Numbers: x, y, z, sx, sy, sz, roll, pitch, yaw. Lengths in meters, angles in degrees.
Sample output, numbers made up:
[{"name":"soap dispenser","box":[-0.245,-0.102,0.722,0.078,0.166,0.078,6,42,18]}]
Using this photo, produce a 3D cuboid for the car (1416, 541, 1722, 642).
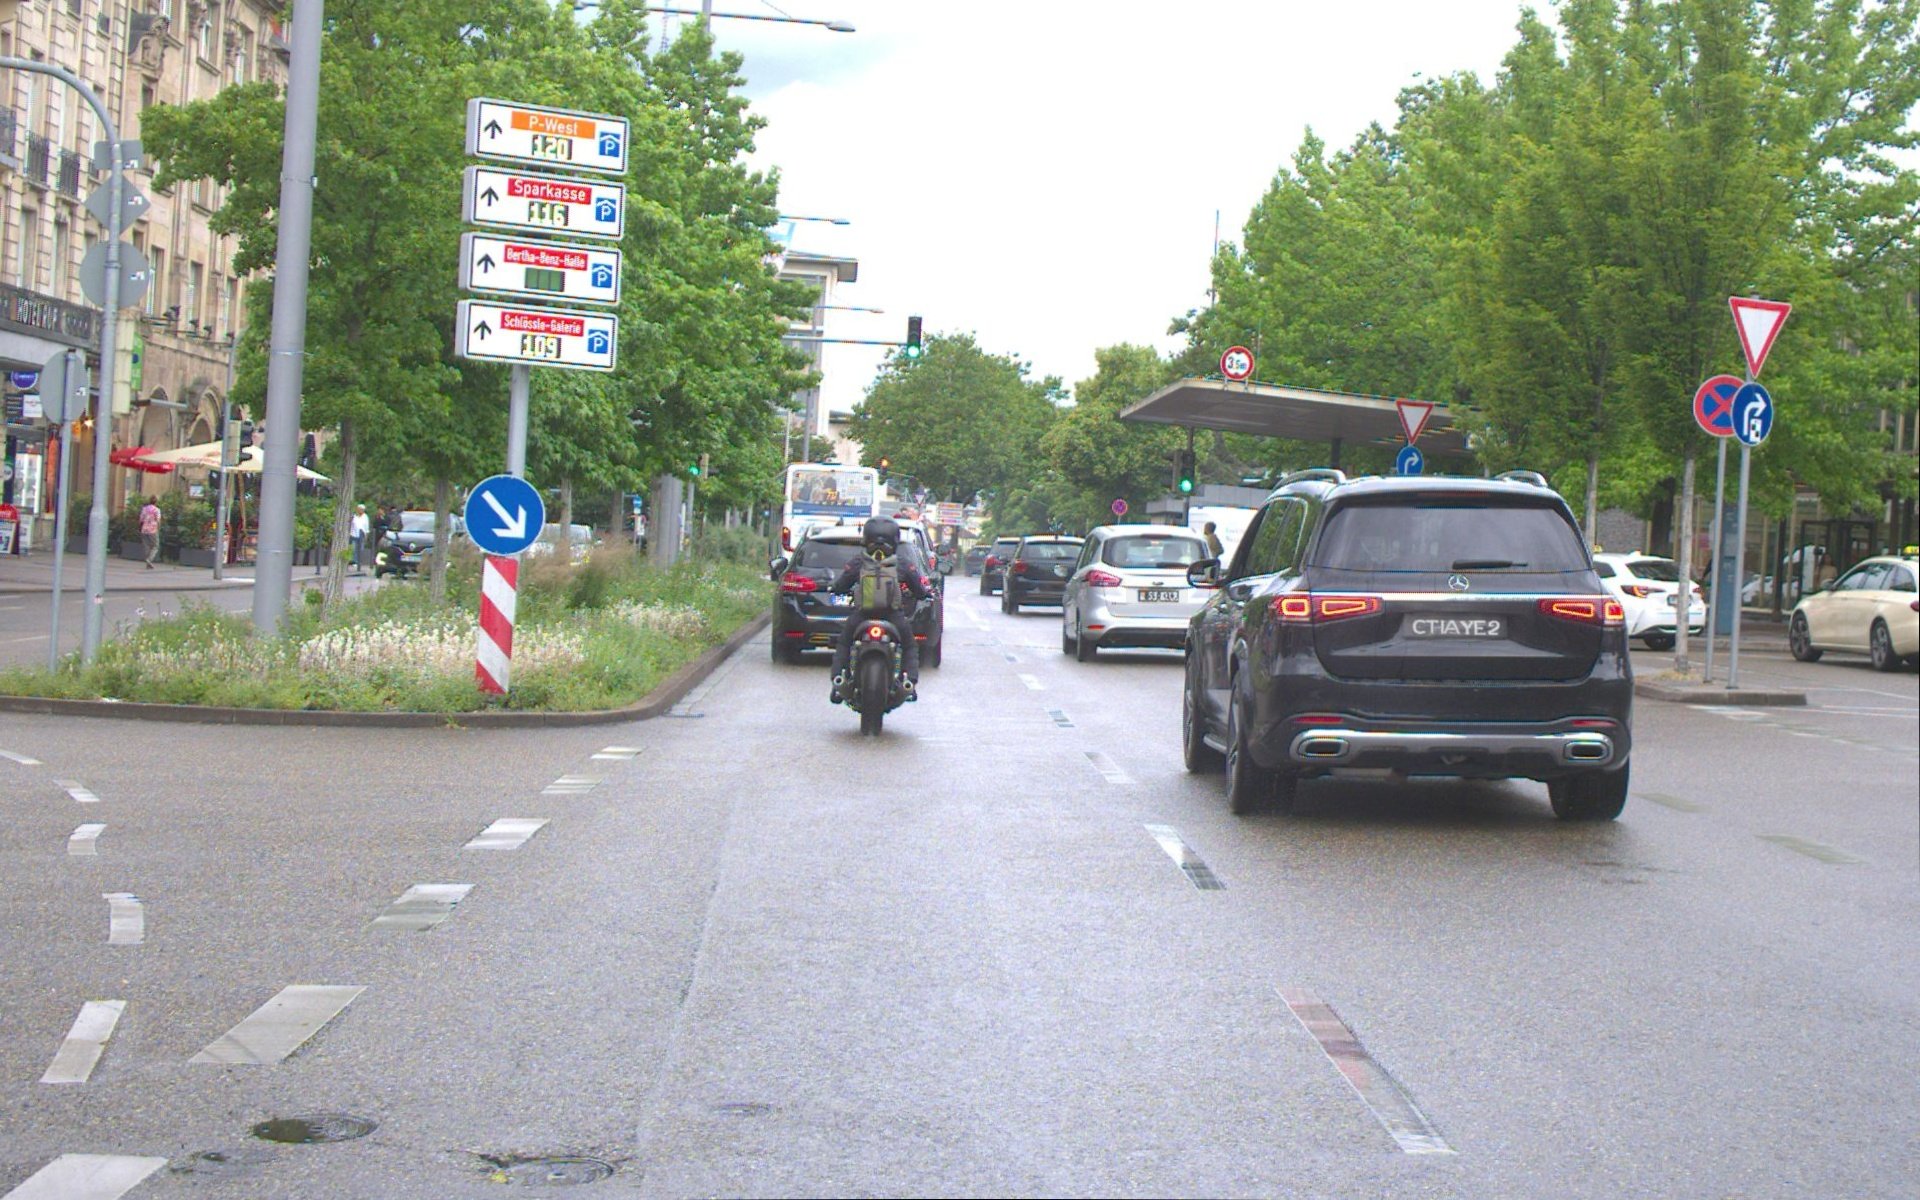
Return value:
[{"name":"car","box":[9.119,-0.151,51.744,1.775,1.380,4.366,0,1,-41]}]

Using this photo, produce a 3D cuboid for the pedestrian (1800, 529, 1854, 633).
[{"name":"pedestrian","box":[16.973,-0.378,67.300,0.769,2.007,0.828,1,1,-3]}]

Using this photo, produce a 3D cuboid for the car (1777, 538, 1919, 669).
[{"name":"car","box":[12.561,0.020,45.036,1.993,1.594,4.824,1,1,-8]}]

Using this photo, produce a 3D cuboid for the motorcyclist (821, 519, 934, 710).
[{"name":"motorcyclist","box":[-0.586,0.093,24.710,0.764,1.327,0.866,2,1,0]}]

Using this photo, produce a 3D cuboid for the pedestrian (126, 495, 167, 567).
[{"name":"pedestrian","box":[-17.237,-1.461,72.807,0.661,1.505,0.519,1,1,-38]}]

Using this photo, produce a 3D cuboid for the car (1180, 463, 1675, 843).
[{"name":"car","box":[2.411,0.203,18.972,1.993,1.800,4.690,1,1,-1]}]

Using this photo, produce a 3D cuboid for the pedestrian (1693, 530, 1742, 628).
[{"name":"pedestrian","box":[15.685,-0.443,71.194,0.769,2.007,0.828,1,1,-3]}]

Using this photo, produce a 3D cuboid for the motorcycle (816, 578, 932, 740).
[{"name":"motorcycle","box":[-0.602,0.400,24.776,0.766,1.073,2.175,2,1,-1]}]

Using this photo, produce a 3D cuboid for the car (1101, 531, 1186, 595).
[{"name":"car","box":[4.572,-0.949,86.126,1.816,1.525,4.000,1,1,-1]}]

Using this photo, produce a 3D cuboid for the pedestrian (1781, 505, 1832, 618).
[{"name":"pedestrian","box":[18.323,-0.840,74.466,0.843,2.403,0.862,1,1,1]}]

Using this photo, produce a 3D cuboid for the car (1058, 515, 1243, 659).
[{"name":"car","box":[2.175,-0.186,40.154,1.851,1.561,4.000,1,1,-1]}]

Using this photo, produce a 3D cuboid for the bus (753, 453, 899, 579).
[{"name":"bus","box":[-3.860,-2.343,97.389,3.760,3.198,15.528,1,1,-3]}]

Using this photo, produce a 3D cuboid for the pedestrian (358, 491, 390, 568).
[{"name":"pedestrian","box":[-15.553,-1.879,91.232,0.757,2.007,0.833,1,1,-7]}]

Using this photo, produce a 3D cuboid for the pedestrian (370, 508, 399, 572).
[{"name":"pedestrian","box":[-15.276,-1.599,91.311,0.674,1.696,0.634,0,1,-1]}]

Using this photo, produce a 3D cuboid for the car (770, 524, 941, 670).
[{"name":"car","box":[-1.084,-0.075,36.807,1.708,1.443,4.000,1,1,-1]}]

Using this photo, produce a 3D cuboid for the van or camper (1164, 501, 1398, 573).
[{"name":"van or camper","box":[9.683,-1.879,103.649,6.753,2.007,2.386,1,1,-26]}]

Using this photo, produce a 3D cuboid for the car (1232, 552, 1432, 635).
[{"name":"car","box":[8.977,-0.155,83.014,4.335,1.851,2.001,1,1,-20]}]

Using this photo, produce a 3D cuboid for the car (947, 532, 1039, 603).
[{"name":"car","box":[0.769,-0.804,83.514,1.810,1.637,3.904,2,1,-5]}]

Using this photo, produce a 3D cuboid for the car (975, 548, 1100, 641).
[{"name":"car","box":[1.381,-0.131,62.827,1.810,1.576,3.904,2,1,-5]}]

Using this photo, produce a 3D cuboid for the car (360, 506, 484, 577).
[{"name":"car","box":[-12.207,-1.338,78.213,1.771,1.525,4.078,1,1,6]}]
